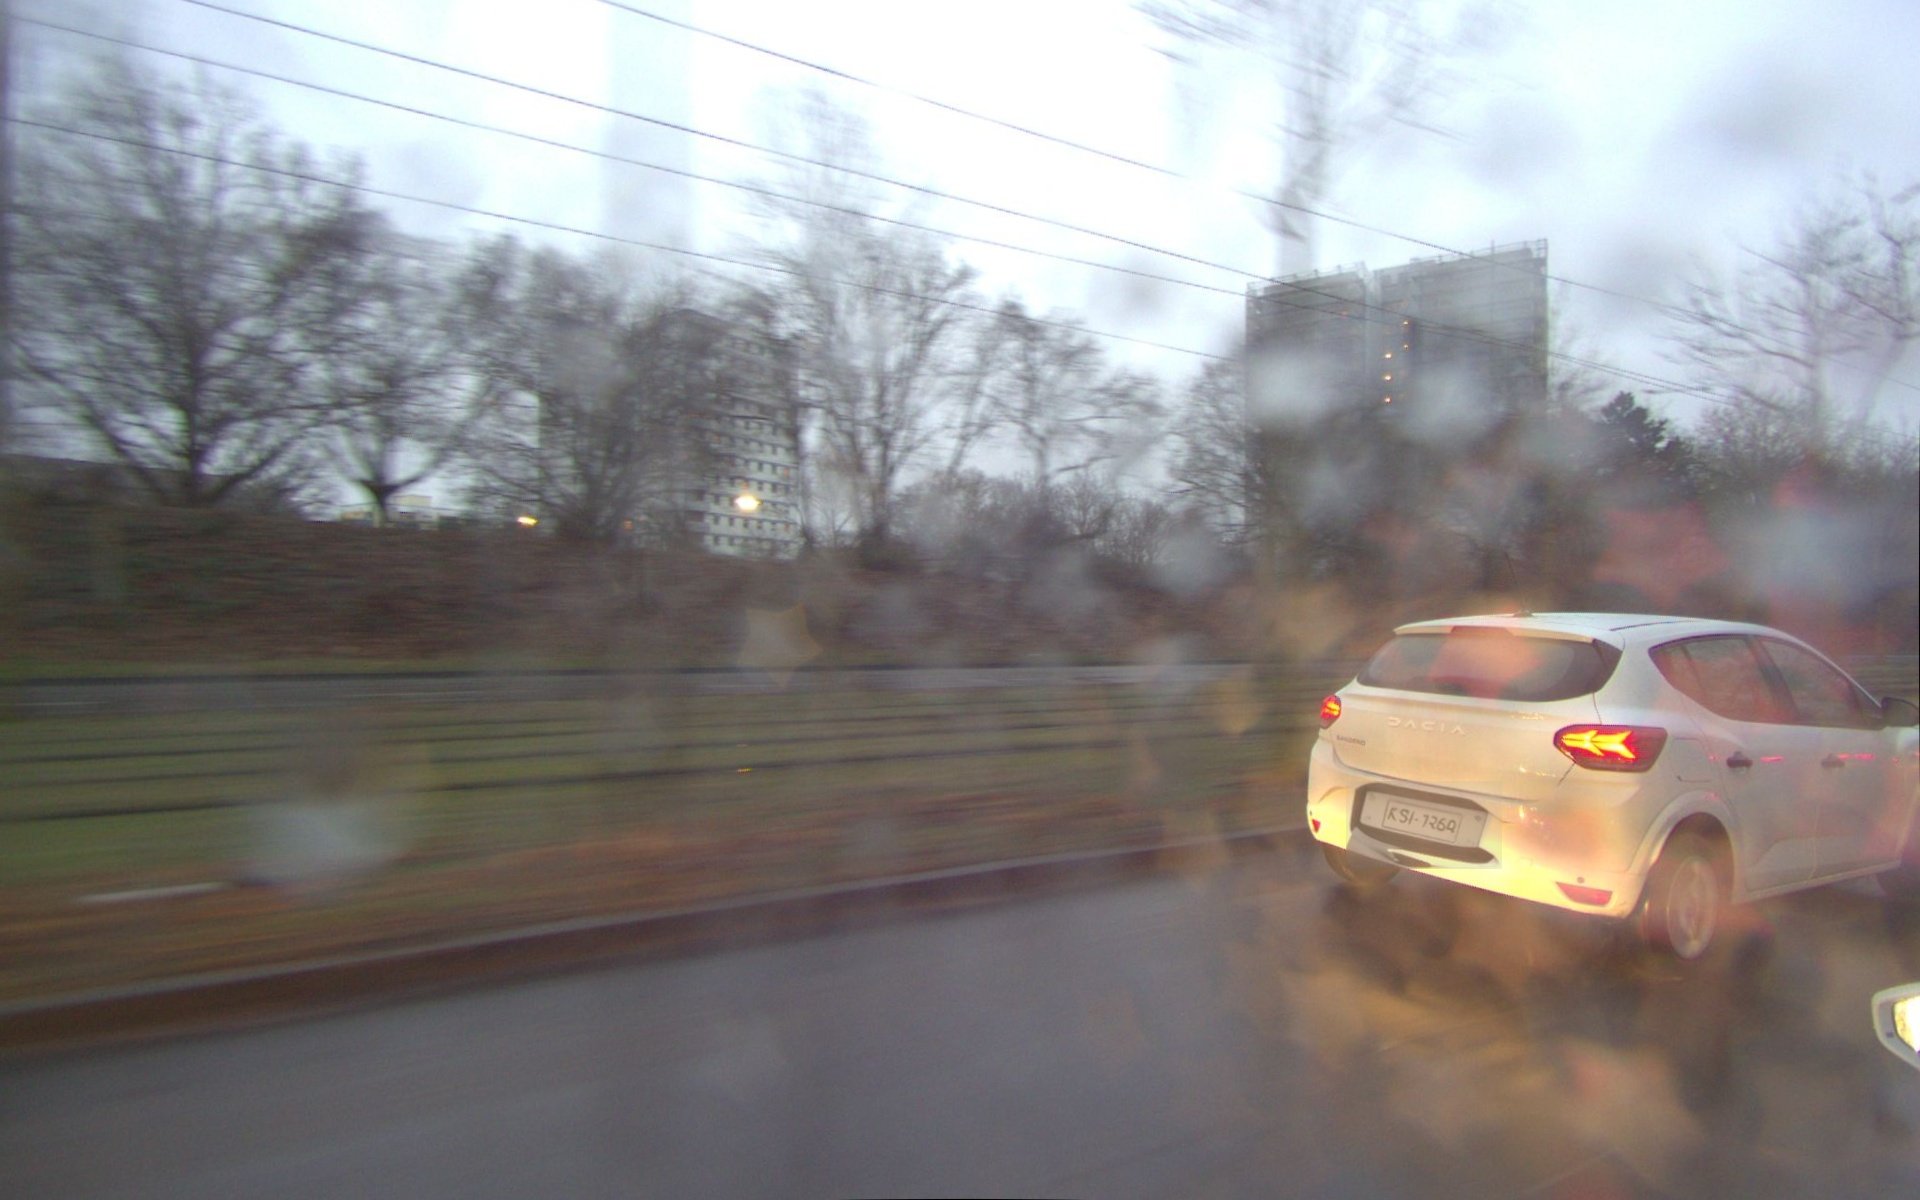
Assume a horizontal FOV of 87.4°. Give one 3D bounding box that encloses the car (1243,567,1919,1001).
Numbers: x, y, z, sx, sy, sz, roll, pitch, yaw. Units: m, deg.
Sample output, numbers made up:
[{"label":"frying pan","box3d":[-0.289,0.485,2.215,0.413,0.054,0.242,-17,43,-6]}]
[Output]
[{"label":"car","box3d":[3.621,0.699,5.340,4.085,1.545,1.701,1,-1,-29]}]
